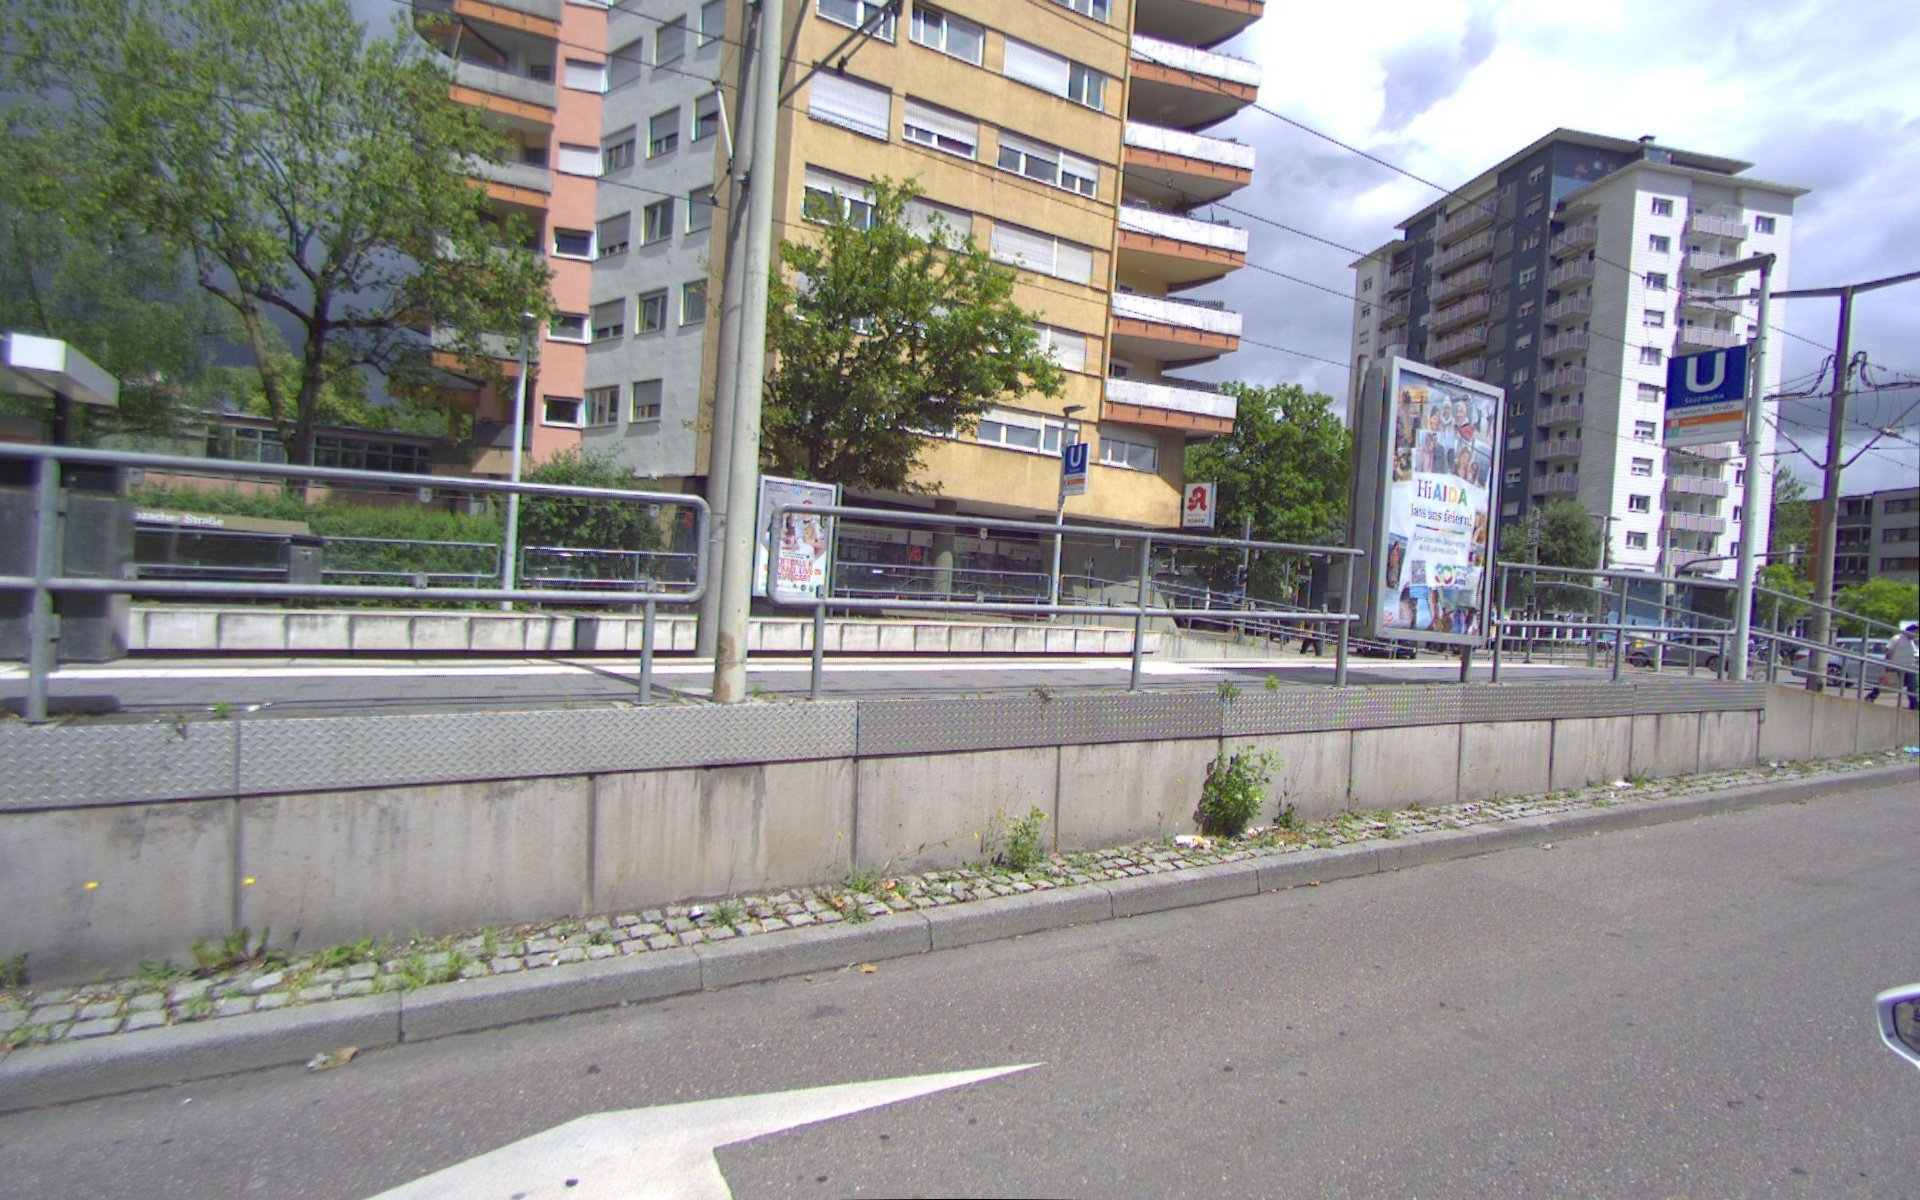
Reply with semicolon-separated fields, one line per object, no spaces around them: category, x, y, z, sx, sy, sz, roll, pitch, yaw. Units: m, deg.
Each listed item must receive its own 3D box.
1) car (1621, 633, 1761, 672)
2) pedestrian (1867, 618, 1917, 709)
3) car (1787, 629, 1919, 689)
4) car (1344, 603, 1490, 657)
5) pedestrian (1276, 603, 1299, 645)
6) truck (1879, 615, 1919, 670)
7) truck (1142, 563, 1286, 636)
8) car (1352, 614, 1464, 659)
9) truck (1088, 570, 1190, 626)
car;30.382;2.144;41.879;1.663;1.346;4.412;2;0;-36
pedestrian;18.635;1.258;20.095;0.680;1.757;0.684;2;0;42
car;26.917;1.702;28.700;1.982;1.542;4.755;2;0;-37
car;18.498;1.182;40.898;1.978;1.918;5.140;2;0;-32
pedestrian;11.627;0.851;35.679;0.541;1.459;0.497;2;0;-19
truck;58.188;2.595;60.682;7.244;3.159;2.267;2;0;-34
truck;12.648;-0.045;50.705;2.579;3.393;7.229;2;0;-31
car;15.420;1.264;34.536;3.820;1.424;1.571;2;0;-30
truck;7.987;-0.110;45.248;2.323;2.320;4.260;2;0;-29
